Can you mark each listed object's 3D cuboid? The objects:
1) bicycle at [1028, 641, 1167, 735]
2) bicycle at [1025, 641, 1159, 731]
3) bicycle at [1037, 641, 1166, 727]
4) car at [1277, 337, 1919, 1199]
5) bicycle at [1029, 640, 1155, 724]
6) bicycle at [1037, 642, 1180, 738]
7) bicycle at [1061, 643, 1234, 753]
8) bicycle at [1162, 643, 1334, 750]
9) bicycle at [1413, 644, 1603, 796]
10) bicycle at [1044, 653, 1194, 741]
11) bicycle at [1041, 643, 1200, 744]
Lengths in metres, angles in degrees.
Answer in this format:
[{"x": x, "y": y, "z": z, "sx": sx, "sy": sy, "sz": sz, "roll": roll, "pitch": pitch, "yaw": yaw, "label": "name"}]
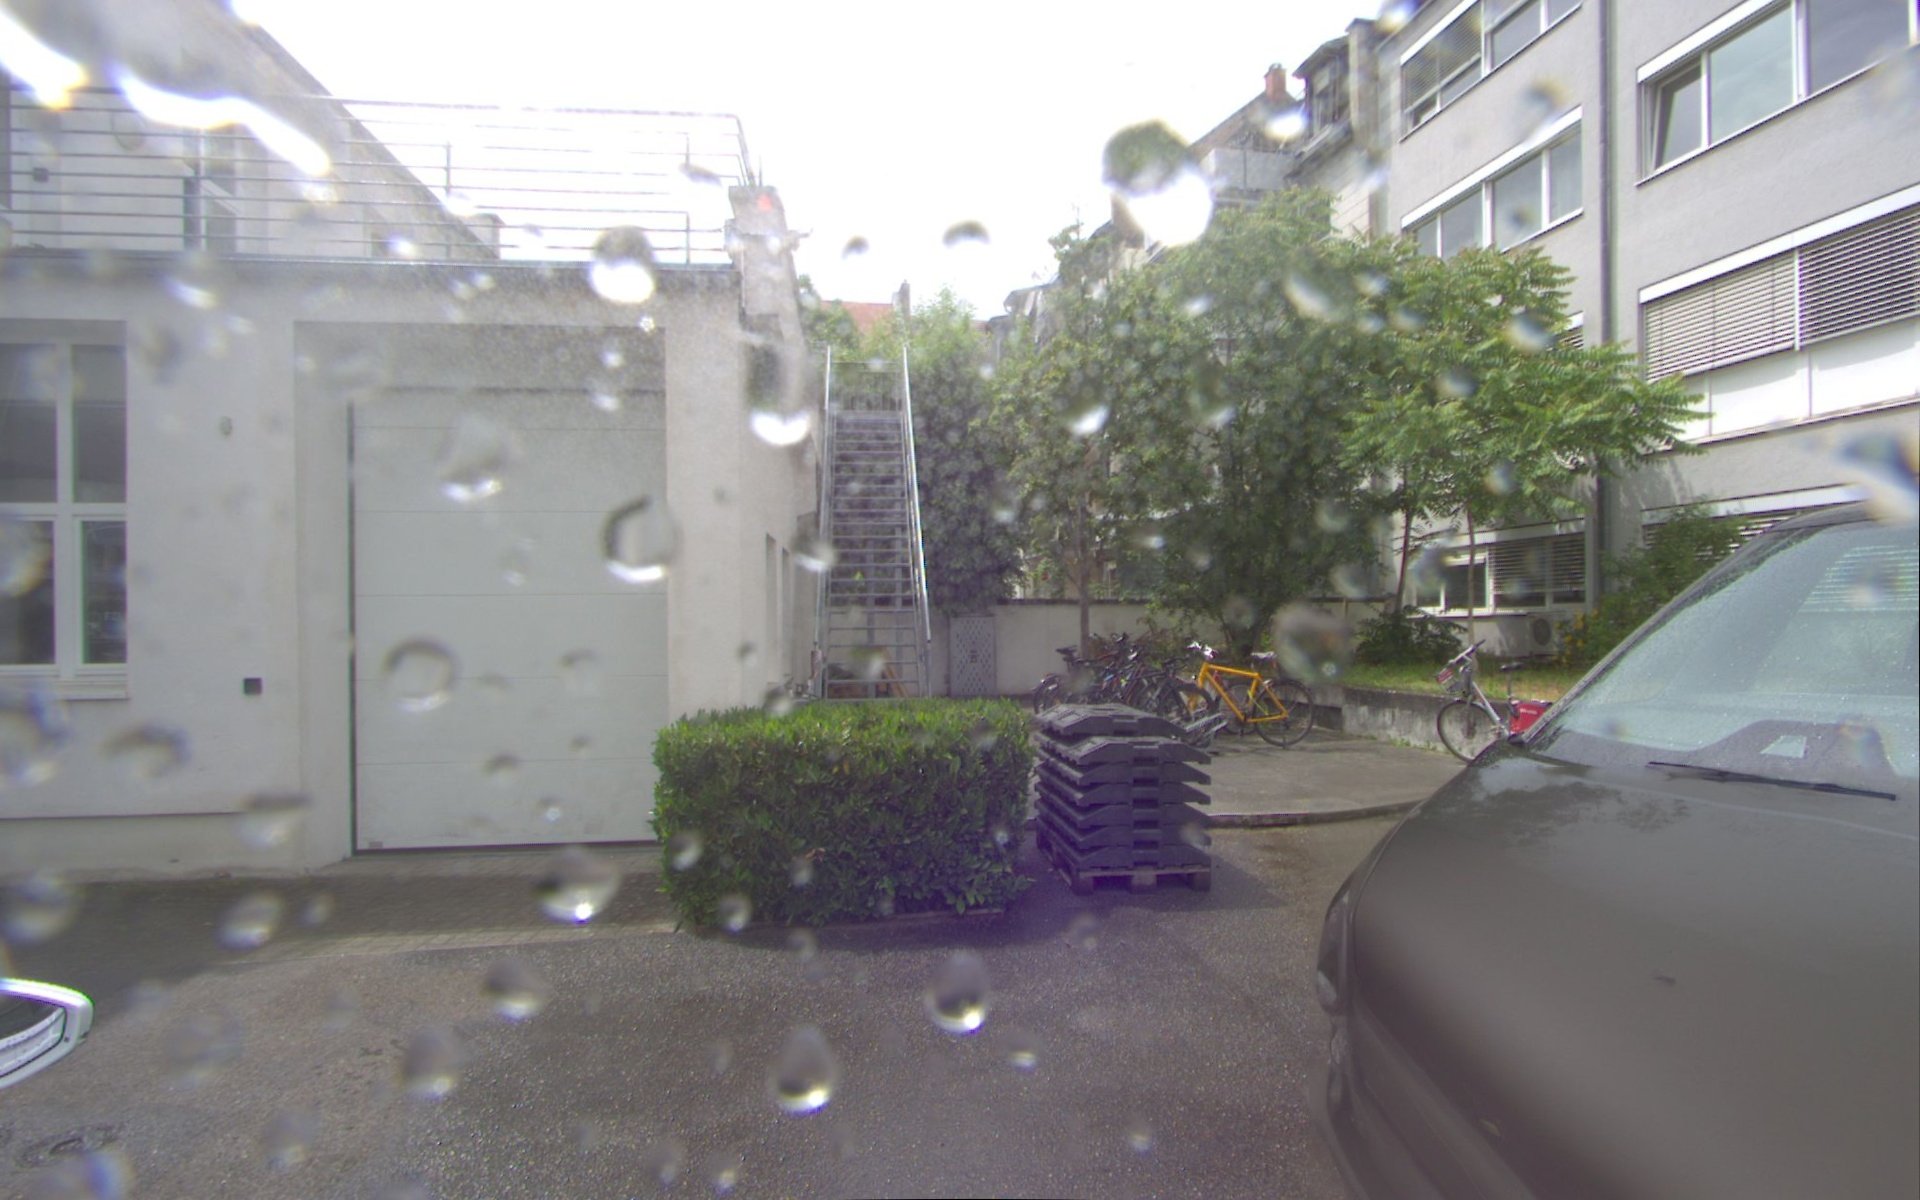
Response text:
[{"x": 1.726, "y": 1.091, "z": 12.574, "sx": 1.723, "sy": 1.118, "sz": 0.342, "roll": 0, "pitch": 0, "yaw": -12, "label": "bicycle"}, {"x": 1.721, "y": 1.106, "z": 13.063, "sx": 1.723, "sy": 1.118, "sz": 0.345, "roll": 0, "pitch": 0, "yaw": -12, "label": "bicycle"}, {"x": 1.928, "y": 1.123, "z": 13.633, "sx": 1.723, "sy": 1.118, "sz": 0.355, "roll": 0, "pitch": 0, "yaw": -12, "label": "bicycle"}, {"x": 3.380, "y": 0.585, "z": 2.320, "sx": 4.660, "sy": 1.889, "sz": 1.969, "roll": -1, "pitch": -1, "yaw": -13, "label": "car"}, {"x": 1.847, "y": 1.135, "z": 13.994, "sx": 1.723, "sy": 1.118, "sz": 0.341, "roll": 0, "pitch": 0, "yaw": -12, "label": "bicycle"}, {"x": 1.811, "y": 1.079, "z": 12.229, "sx": 1.723, "sy": 1.118, "sz": 0.332, "roll": 0, "pitch": 0, "yaw": -12, "label": "bicycle"}, {"x": 1.974, "y": 1.025, "z": 10.603, "sx": 1.762, "sy": 1.118, "sz": 0.405, "roll": 0, "pitch": 0, "yaw": -4, "label": "bicycle"}, {"x": 3.102, "y": 1.030, "z": 10.817, "sx": 1.762, "sy": 1.118, "sz": 0.367, "roll": 0, "pitch": 0, "yaw": -4, "label": "bicycle"}, {"x": 4.710, "y": 0.980, "z": 8.755, "sx": 0.438, "sy": 1.118, "sz": 1.796, "roll": -3, "pitch": 0, "yaw": -8, "label": "bicycle"}, {"x": 1.892, "y": 1.136, "z": 11.896, "sx": 1.763, "sy": 0.980, "sz": 0.329, "roll": 0, "pitch": 0, "yaw": -12, "label": "bicycle"}, {"x": 1.817, "y": 1.052, "z": 11.398, "sx": 1.762, "sy": 1.118, "sz": 0.354, "roll": 0, "pitch": 0, "yaw": -4, "label": "bicycle"}]
